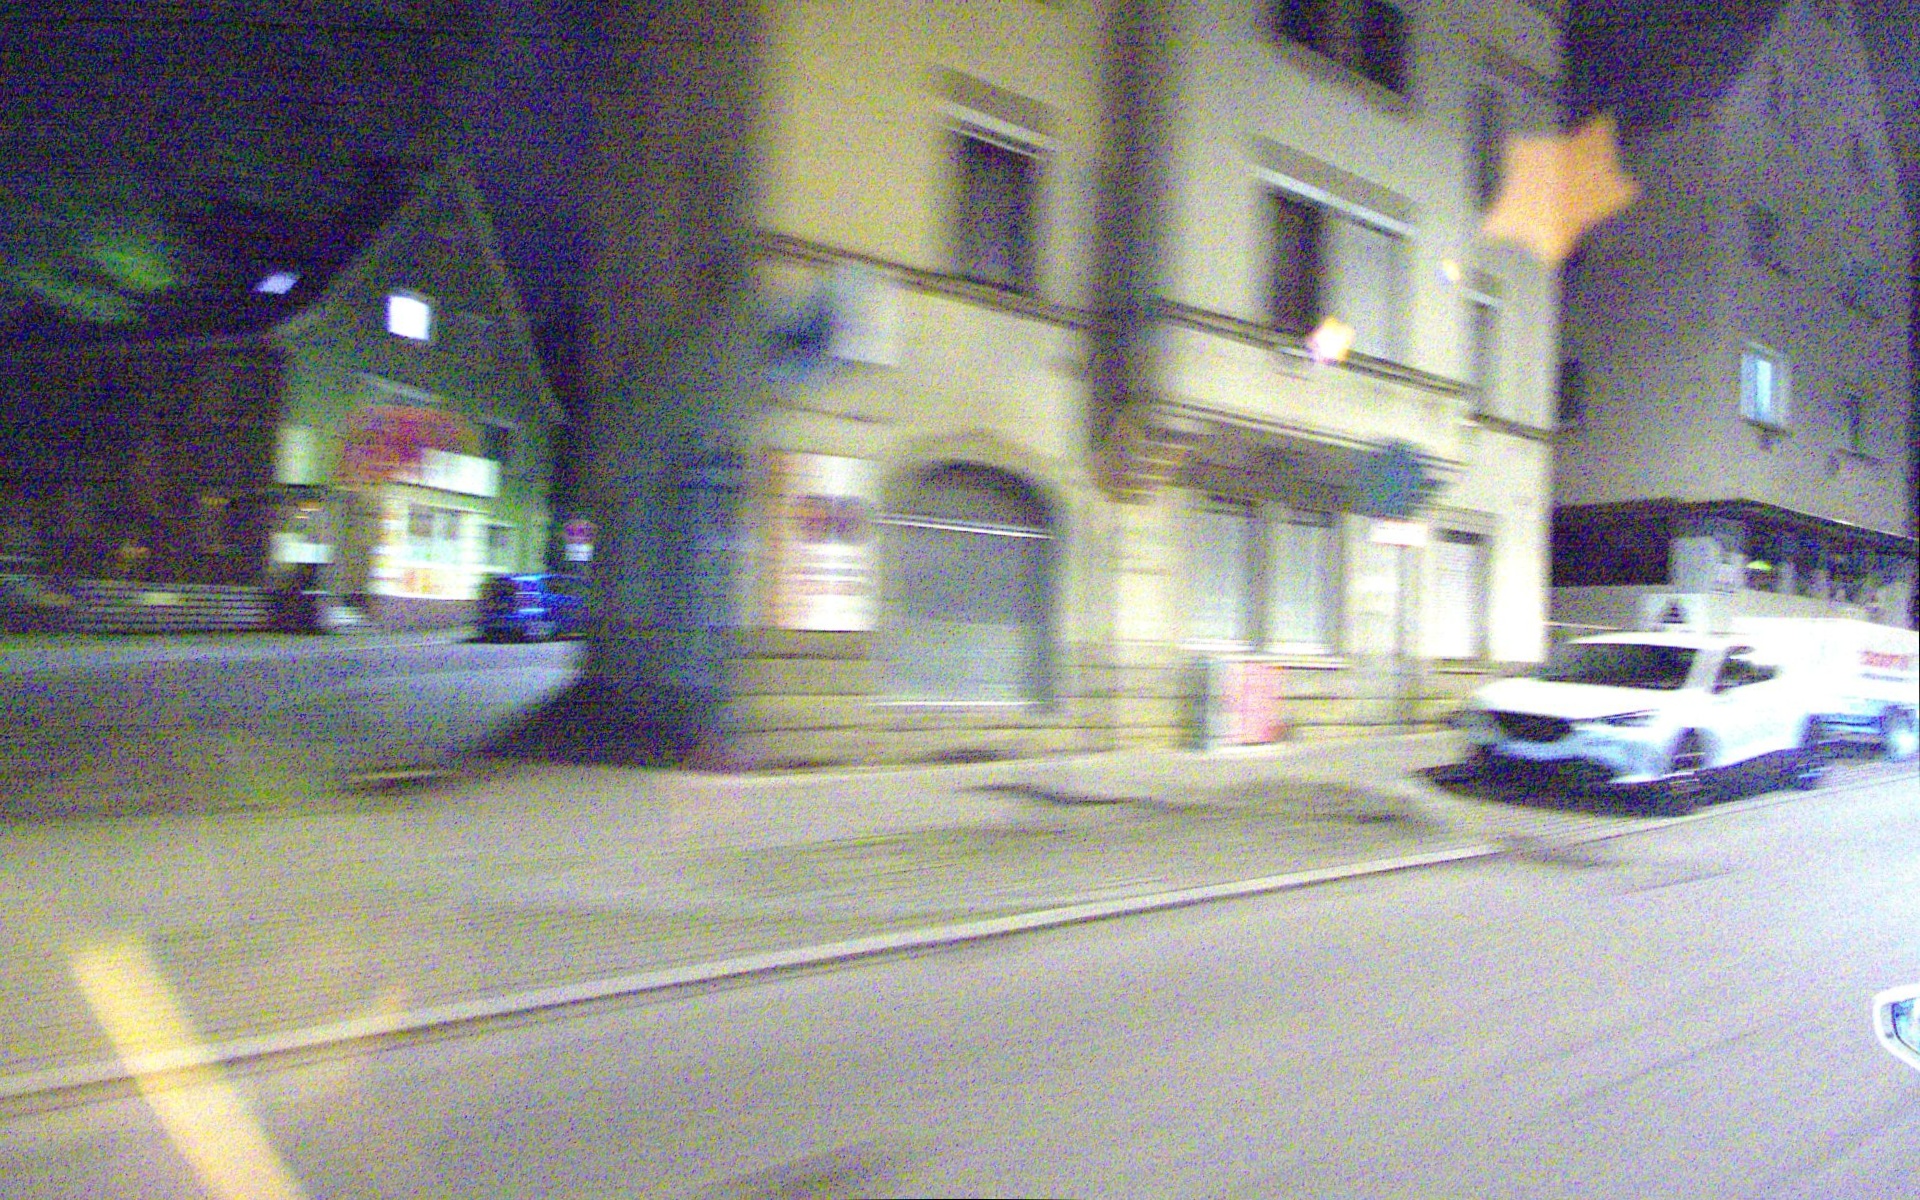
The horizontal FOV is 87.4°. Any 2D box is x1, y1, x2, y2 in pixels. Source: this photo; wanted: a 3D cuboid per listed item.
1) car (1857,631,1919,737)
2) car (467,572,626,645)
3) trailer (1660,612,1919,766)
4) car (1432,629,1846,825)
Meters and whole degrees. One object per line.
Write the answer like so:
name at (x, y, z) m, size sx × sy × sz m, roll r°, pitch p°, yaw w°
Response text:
car at (15.605, 1.231, 15.232) m, size 4.493 × 1.466 × 1.825 m, roll 1°, pitch 0°, yaw -32°
car at (-9.858, 0.194, 24.185) m, size 1.697 × 1.581 × 3.382 m, roll 2°, pitch 0°, yaw 19°
trailer at (10.593, 1.034, 12.502) m, size 3.394 × 1.661 × 1.632 m, roll 2°, pitch 0°, yaw -26°
car at (6.752, 1.070, 9.877) m, size 4.300 × 1.504 × 1.804 m, roll 1°, pitch 0°, yaw -32°
